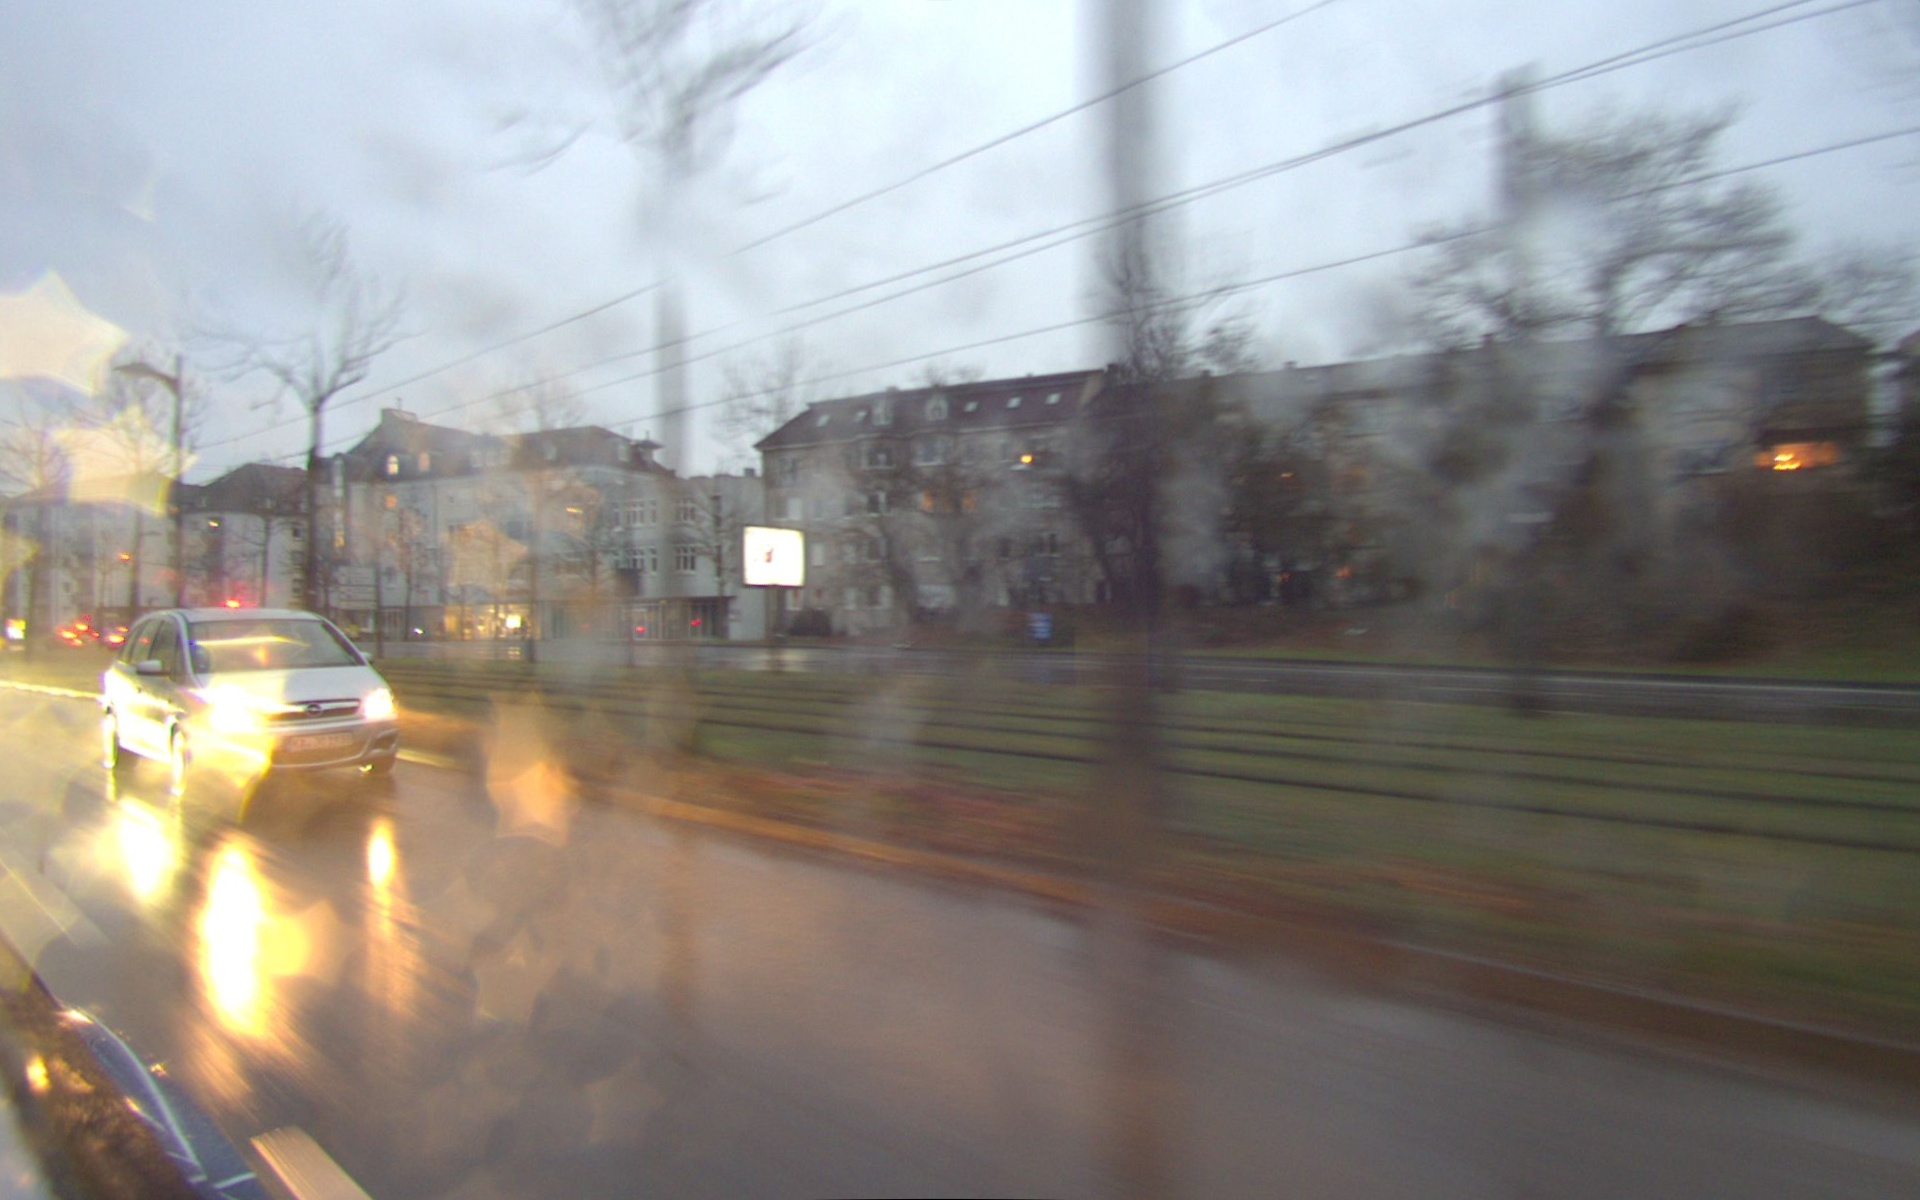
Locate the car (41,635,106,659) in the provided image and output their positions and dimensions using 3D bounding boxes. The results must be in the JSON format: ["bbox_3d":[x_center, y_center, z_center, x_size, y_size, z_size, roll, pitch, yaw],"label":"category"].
[{"bbox_3d":[-54.109,2.855,61.740,4.276,1.365,1.877,-2,-2,33],"label":"car"}]

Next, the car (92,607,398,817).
[{"bbox_3d":[-6.917,0.896,9.630,3.923,1.587,1.647,-2,-1,43],"label":"car"}]

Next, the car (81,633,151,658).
[{"bbox_3d":[-48.737,2.616,58.413,4.274,1.365,1.878,-2,-2,32],"label":"car"}]
